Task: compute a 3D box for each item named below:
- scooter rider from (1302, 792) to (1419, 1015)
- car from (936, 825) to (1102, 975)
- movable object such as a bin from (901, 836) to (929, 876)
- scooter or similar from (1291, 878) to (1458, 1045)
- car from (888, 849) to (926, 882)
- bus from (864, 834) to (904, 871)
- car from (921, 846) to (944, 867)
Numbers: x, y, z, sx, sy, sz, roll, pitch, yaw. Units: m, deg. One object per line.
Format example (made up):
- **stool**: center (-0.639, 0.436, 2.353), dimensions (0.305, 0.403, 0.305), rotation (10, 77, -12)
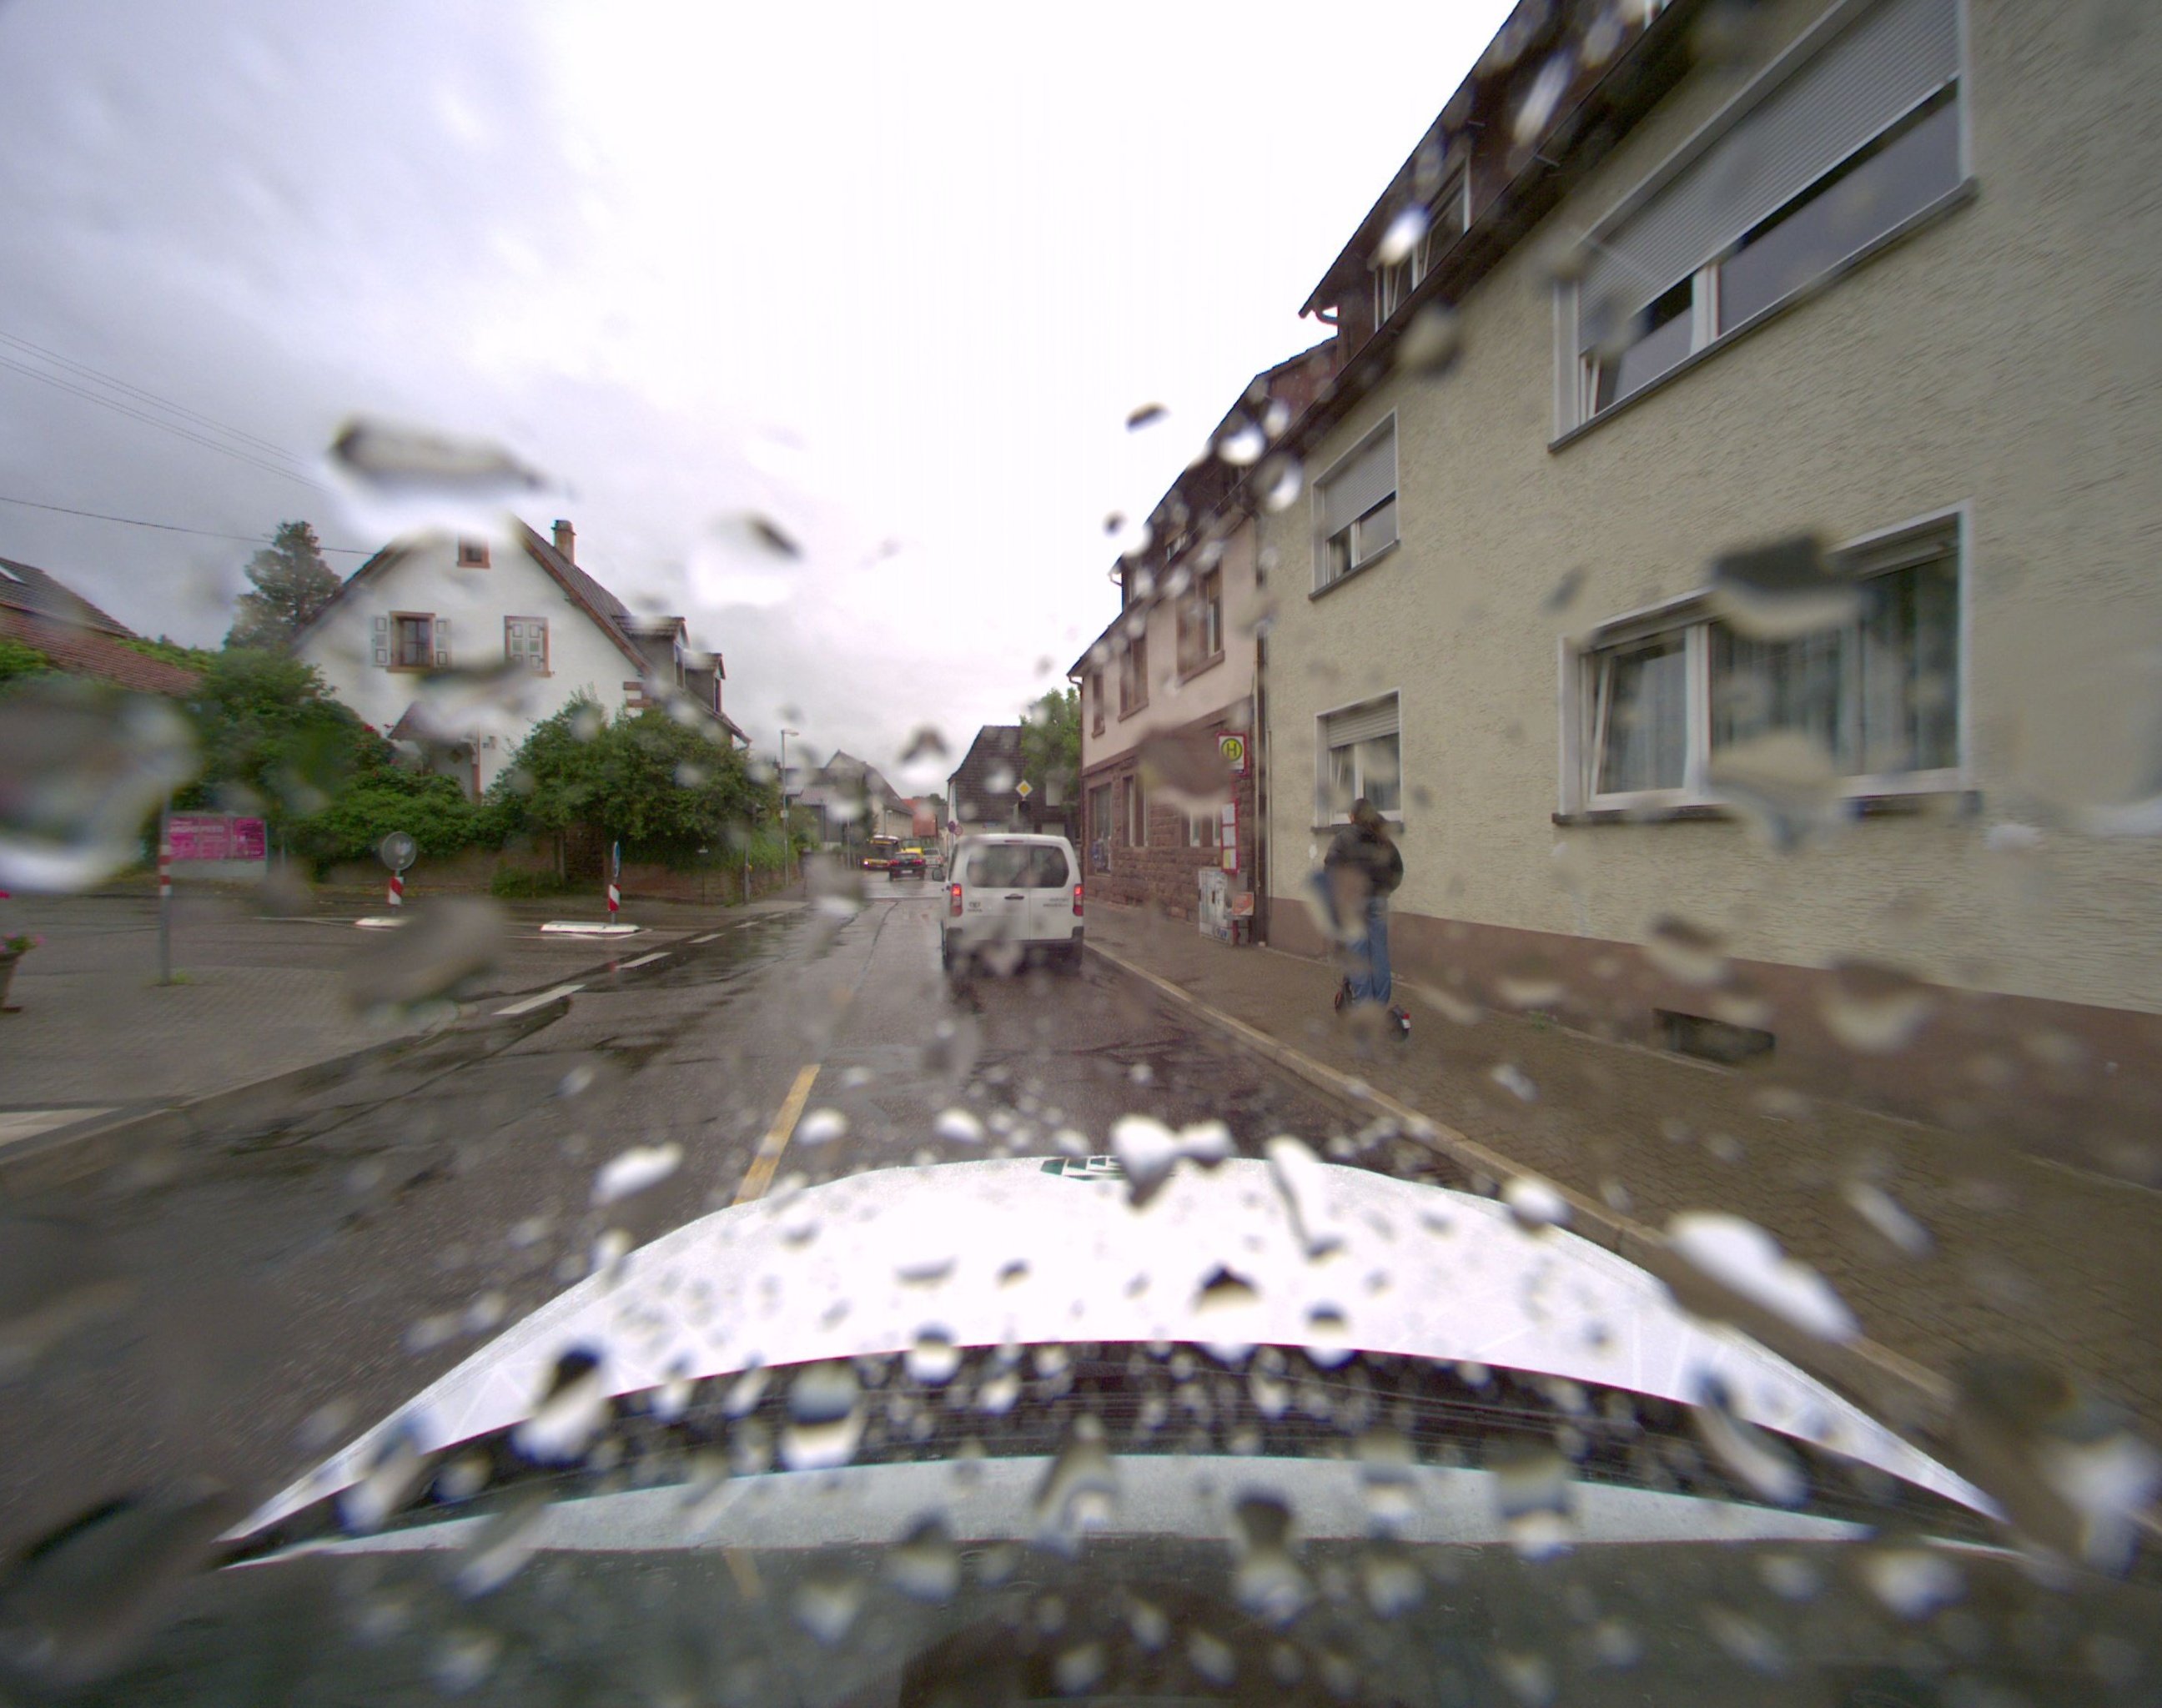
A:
- **scooter rider**: center (2.275, 0.385, 6.664), dimensions (0.731, 1.733, 0.516), rotation (0, -1, -13)
- **car**: center (-1.066, 0.557, 11.805), dimensions (1.896, 1.794, 3.797), rotation (1, 0, -12)
- **movable object such as a bin**: center (-11.379, 0.121, 55.999), dimensions (1.727, 2.653, 3.959), rotation (1, 0, -11)
- **scooter or similar**: center (2.300, 0.787, 6.555), dimensions (0.621, 1.127, 1.396), rotation (0, 1, -12)
- **car**: center (-8.872, 0.535, 41.560), dimensions (1.811, 1.596, 3.740), rotation (1, 0, -12)
- **bus**: center (-17.541, -0.258, 73.070), dimensions (2.649, 2.999, 12.153), rotation (0, 2, -10)
- **car**: center (-15.026, 0.243, 82.405), dimensions (1.894, 1.947, 3.991), rotation (-2, 0, -6)
